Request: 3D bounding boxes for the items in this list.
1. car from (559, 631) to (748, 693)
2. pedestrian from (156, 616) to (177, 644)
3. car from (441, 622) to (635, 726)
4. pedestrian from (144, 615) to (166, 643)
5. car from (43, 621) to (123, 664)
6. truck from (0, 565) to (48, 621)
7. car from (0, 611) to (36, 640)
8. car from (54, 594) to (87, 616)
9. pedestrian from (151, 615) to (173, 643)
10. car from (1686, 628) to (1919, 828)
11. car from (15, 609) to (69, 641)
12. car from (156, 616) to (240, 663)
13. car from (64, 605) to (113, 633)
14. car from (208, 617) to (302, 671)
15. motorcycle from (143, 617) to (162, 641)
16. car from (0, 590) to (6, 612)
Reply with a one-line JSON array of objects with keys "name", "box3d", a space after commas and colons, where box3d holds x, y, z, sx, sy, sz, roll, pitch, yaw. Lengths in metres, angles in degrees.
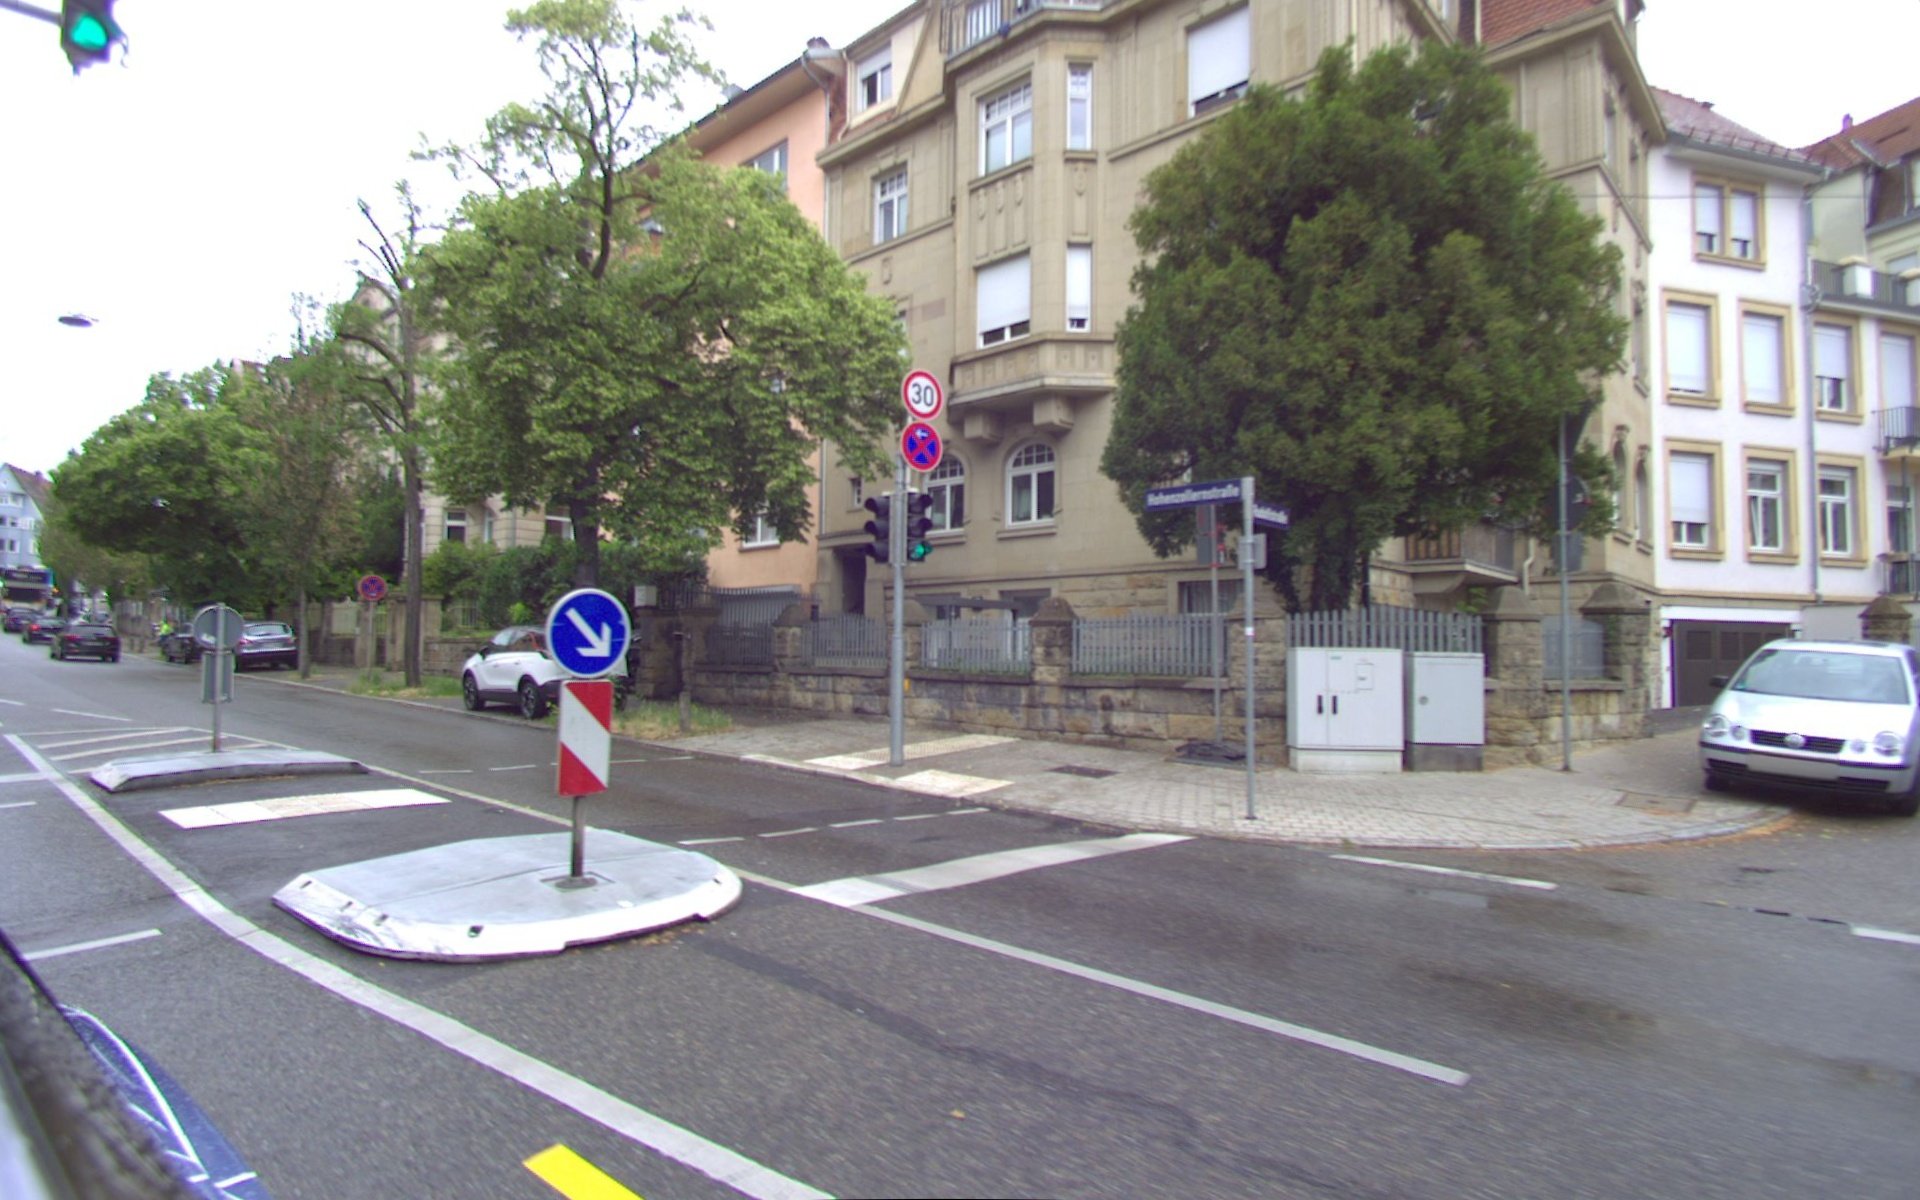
[{"name": "car", "box3d": [-7.263, 1.465, 24.236, 1.836, 1.337, 3.944, -1, -3, 42]}, {"name": "pedestrian", "box3d": [-41.583, 1.576, 53.041, 0.757, 1.443, 0.650, 4, -2, -45]}, {"name": "car", "box3d": [-7.880, 1.264, 18.696, 4.303, 1.571, 1.722, 1, 0, 44]}, {"name": "pedestrian", "box3d": [-42.810, 1.521, 53.815, 0.760, 1.443, 0.757, 1, -2, 44]}, {"name": "car", "box3d": [-33.607, 1.619, 38.745, 4.548, 1.529, 1.795, -1, -5, 43]}, {"name": "truck", "box3d": [-70.829, -0.493, 76.401, 2.616, 3.884, 9.317, 6, -4, -42]}, {"name": "car", "box3d": [-59.948, 1.590, 64.039, 4.749, 1.478, 1.752, 3, -1, 43]}, {"name": "car", "box3d": [-71.507, 0.367, 81.360, 1.972, 1.607, 3.833, -1, 2, -42]}, {"name": "pedestrian", "box3d": [-42.181, 1.550, 53.486, 0.757, 1.443, 0.650, 4, -2, -45]}, {"name": "car", "box3d": [8.859, 1.106, 10.074, 3.815, 1.419, 1.829, -1, 3, -42]}, {"name": "car", "box3d": [-48.730, 1.351, 53.693, 4.590, 1.529, 1.752, -4, -4, 43]}, {"name": "car", "box3d": [-29.325, 1.488, 38.902, 4.299, 1.571, 1.724, 1, 1, 41]}, {"name": "car", "box3d": [-54.125, 1.150, 62.833, 4.300, 1.571, 1.723, 1, 0, 41]}, {"name": "car", "box3d": [-23.289, 1.389, 33.371, 4.303, 1.571, 1.722, 1, 0, 44]}, {"name": "motorcycle", "box3d": [-45.745, 1.645, 57.339, 0.647, 1.246, 1.764, 4, -2, -43]}, {"name": "car", "box3d": [-81.795, 0.045, 85.368, 1.632, 1.720, 4.121, 6, -3, -40]}]
